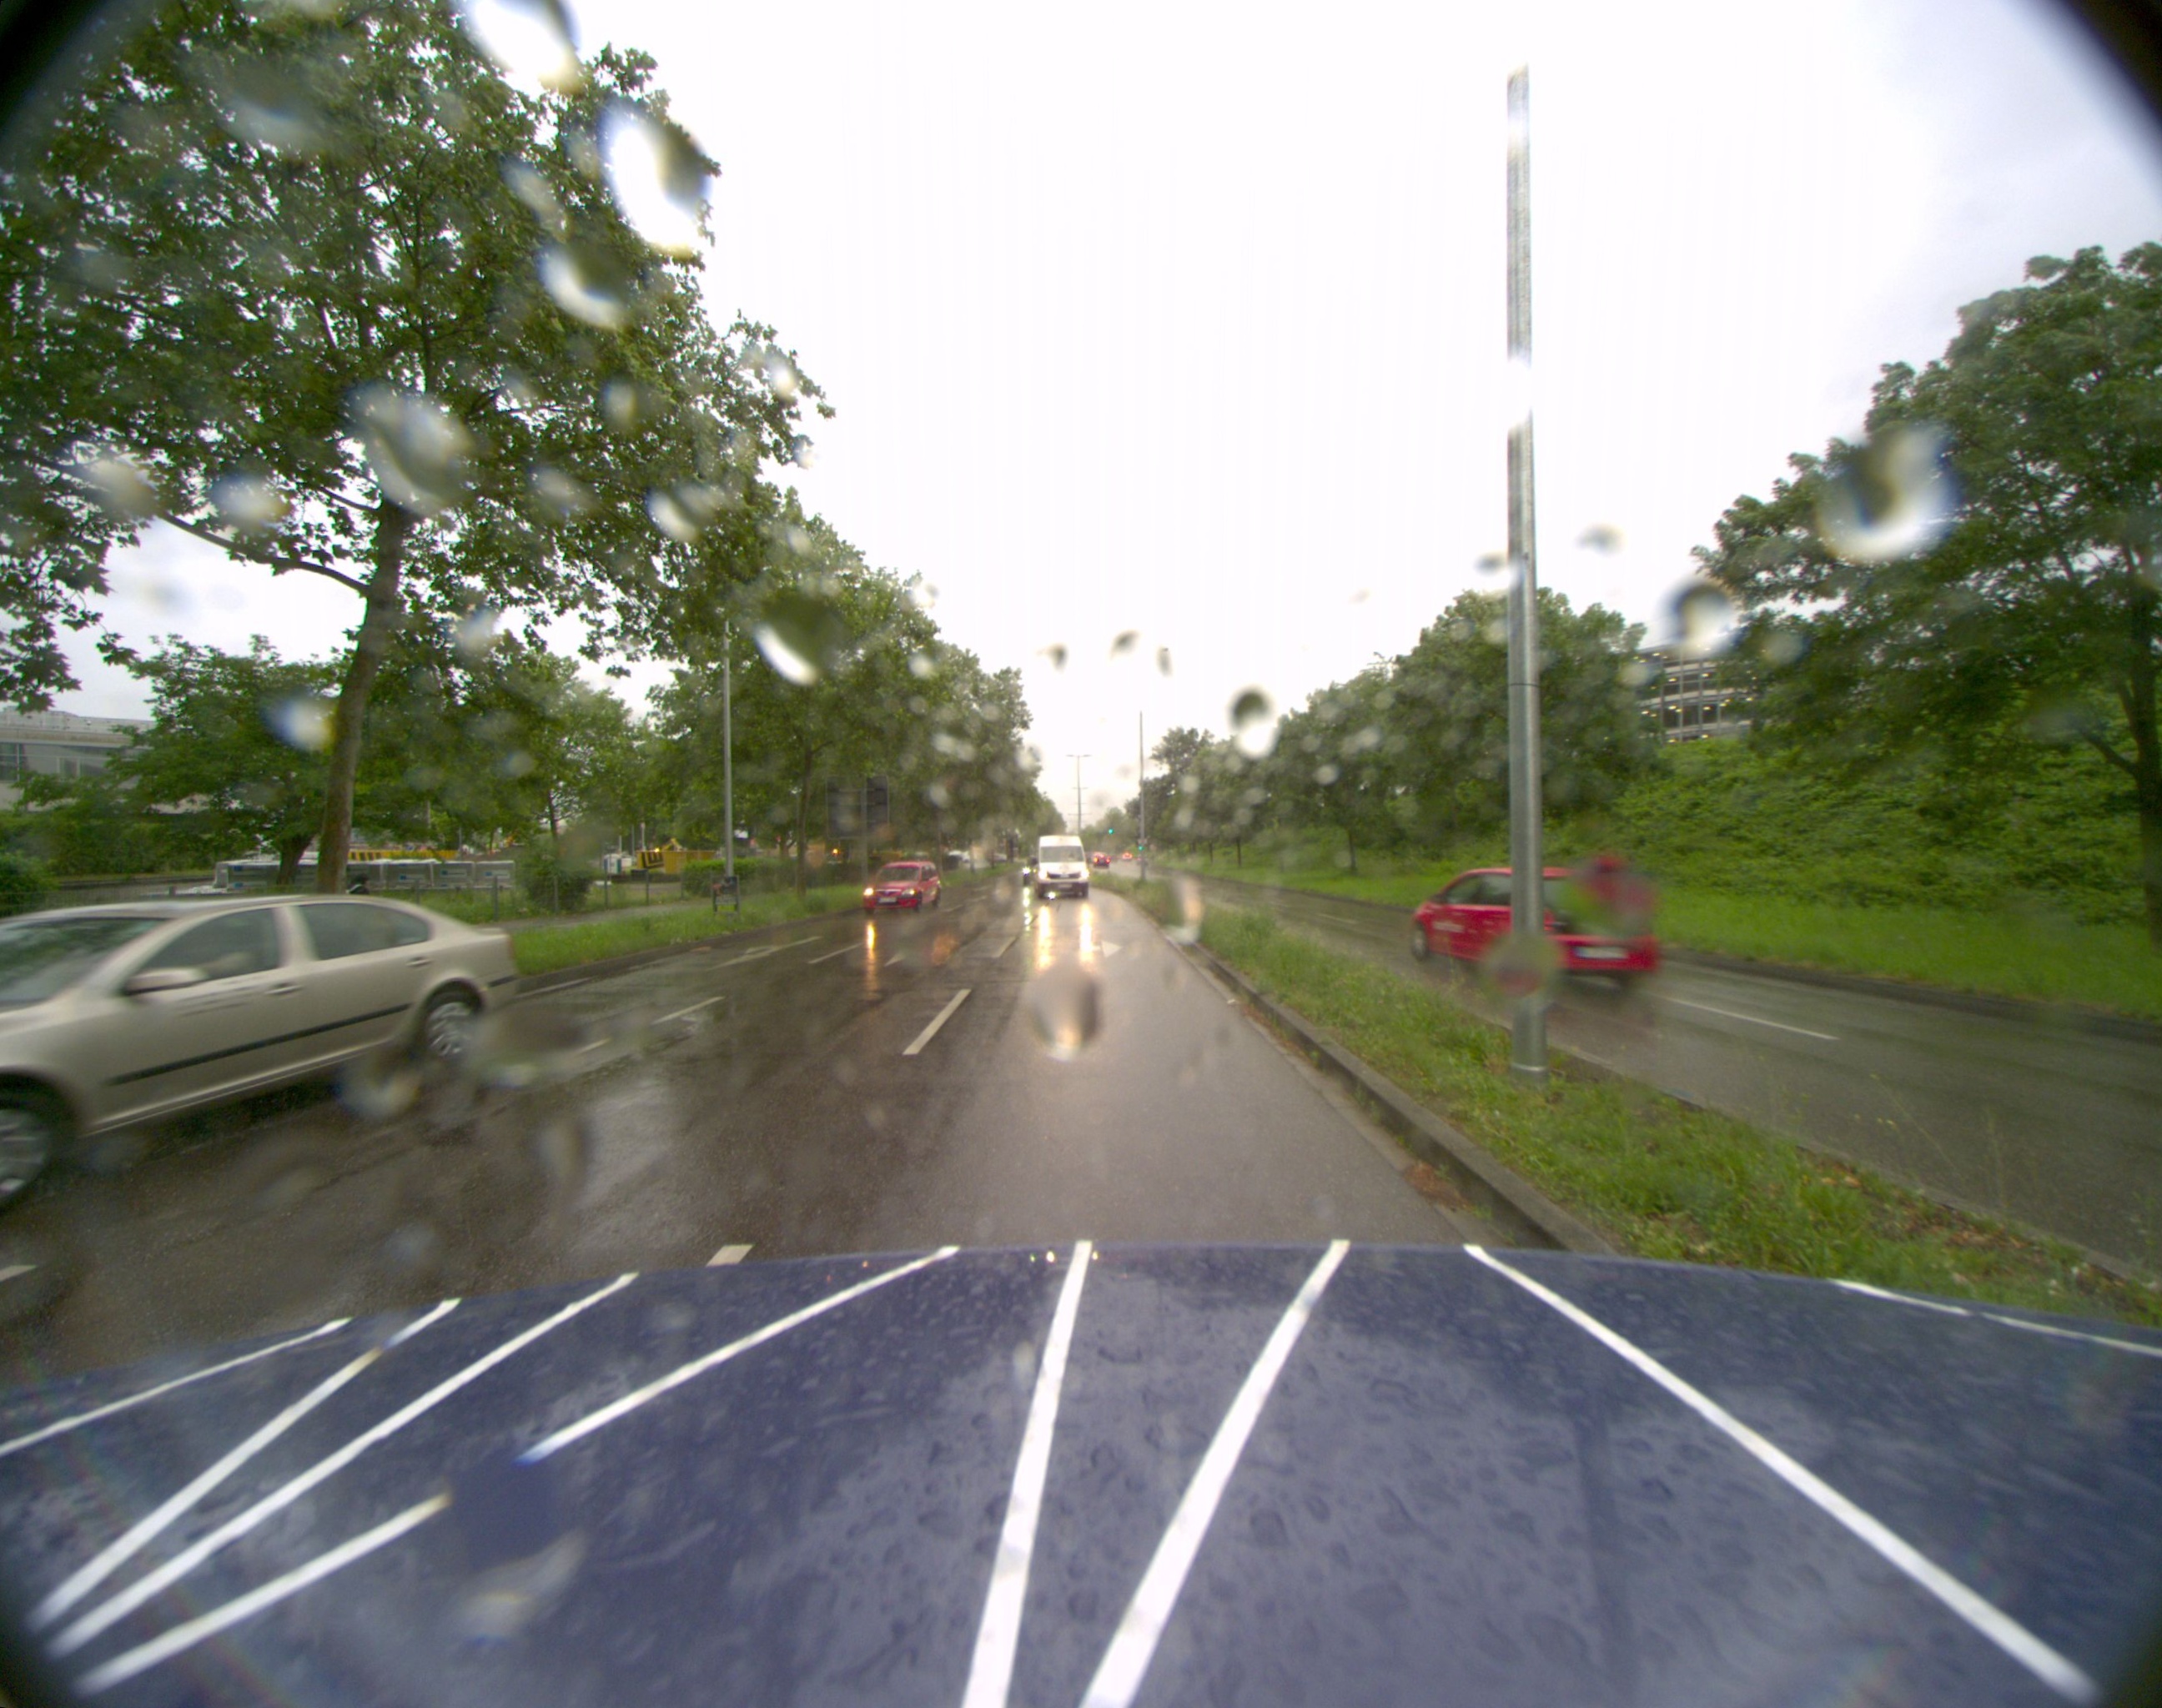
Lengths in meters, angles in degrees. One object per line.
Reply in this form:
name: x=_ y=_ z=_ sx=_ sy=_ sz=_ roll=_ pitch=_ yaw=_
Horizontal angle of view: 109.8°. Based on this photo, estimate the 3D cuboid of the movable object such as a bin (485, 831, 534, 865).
movable object such as a bin: x=-63.661 y=-0.671 z=84.636 sx=3.602 sy=3.605 sz=3.326 roll=0 pitch=1 yaw=35

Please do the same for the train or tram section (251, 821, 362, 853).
train or tram section: x=-88.875 y=-2.009 z=87.472 sx=8.546 sy=3.500 sz=2.394 roll=-3 pitch=3 yaw=-38

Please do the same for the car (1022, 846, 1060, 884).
car: x=-2.375 y=0.600 z=46.368 sx=1.935 sy=2.120 sz=4.557 roll=-2 pitch=1 yaw=1

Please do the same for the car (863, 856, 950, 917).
car: x=-5.605 y=0.969 z=24.928 sx=1.699 sy=1.759 sz=4.557 roll=-1 pitch=1 yaw=1

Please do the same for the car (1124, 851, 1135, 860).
car: x=8.979 y=0.266 z=141.359 sx=1.840 sy=1.493 sz=4.439 roll=1 pitch=0 yaw=1

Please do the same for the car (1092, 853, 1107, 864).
car: x=2.884 y=0.706 z=117.900 sx=1.914 sy=1.565 sz=4.707 roll=1 pitch=0 yaw=-3

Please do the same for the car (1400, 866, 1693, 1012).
car: x=5.839 y=0.957 z=10.107 sx=1.720 sy=1.504 sz=3.614 roll=1 pitch=0 yaw=1

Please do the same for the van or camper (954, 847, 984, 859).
van or camper: x=-19.633 y=-0.235 z=133.573 sx=4.918 sy=2.076 sz=1.863 roll=-1 pitch=1 yaw=-38

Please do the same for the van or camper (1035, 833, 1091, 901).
van or camper: x=-0.671 y=0.486 z=31.931 sx=2.100 sy=2.580 sz=4.775 roll=-2 pitch=1 yaw=1

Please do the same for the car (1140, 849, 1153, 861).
car: x=9.407 y=0.103 z=109.458 sx=1.700 sy=1.608 sz=3.847 roll=-1 pitch=1 yaw=1

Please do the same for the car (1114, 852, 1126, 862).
car: x=6.595 y=0.464 z=128.881 sx=1.724 sy=1.609 sz=4.347 roll=1 pitch=2 yaw=7

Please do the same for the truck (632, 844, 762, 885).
truck: x=-33.053 y=0.800 z=65.657 sx=9.517 sy=3.015 sz=3.073 roll=-3 pitch=2 yaw=-35

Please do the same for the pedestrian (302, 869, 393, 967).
pedestrian: x=-13.800 y=1.172 z=14.325 sx=0.666 sy=1.752 sz=1.075 roll=-1 pitch=1 yaw=-5

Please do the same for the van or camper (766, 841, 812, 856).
van or camper: x=-65.611 y=-1.308 z=170.852 sx=8.994 sy=3.140 sz=2.979 roll=-3 pitch=2 yaw=-35

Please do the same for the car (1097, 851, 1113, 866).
car: x=2.829 y=0.478 z=90.160 sx=1.828 sy=1.566 sz=4.358 roll=3 pitch=2 yaw=1

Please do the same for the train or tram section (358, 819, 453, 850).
train or tram section: x=-82.172 y=-2.386 z=92.735 sx=8.385 sy=3.500 sz=2.394 roll=-3 pitch=3 yaw=-38

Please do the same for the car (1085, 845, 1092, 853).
car: x=2.093 y=-1.273 z=208.277 sx=1.998 sy=2.002 sz=3.999 roll=-2 pitch=2 yaw=1

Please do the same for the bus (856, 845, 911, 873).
bus: x=-19.365 y=0.446 z=74.608 sx=4.804 sy=2.632 sz=2.000 roll=-1 pitch=1 yaw=1

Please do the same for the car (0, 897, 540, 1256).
car: x=-5.870 y=1.140 z=4.721 sx=1.807 sy=1.422 sz=4.386 roll=-1 pitch=1 yaw=1

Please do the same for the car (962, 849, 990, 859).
car: x=-18.082 y=0.038 z=130.790 sx=4.470 sy=1.663 sz=1.863 roll=0 pitch=1 yaw=-38

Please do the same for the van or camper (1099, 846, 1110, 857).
van or camper: x=3.918 y=-0.473 z=127.776 sx=1.733 sy=1.732 sz=3.999 roll=2 pitch=1 yaw=-1
